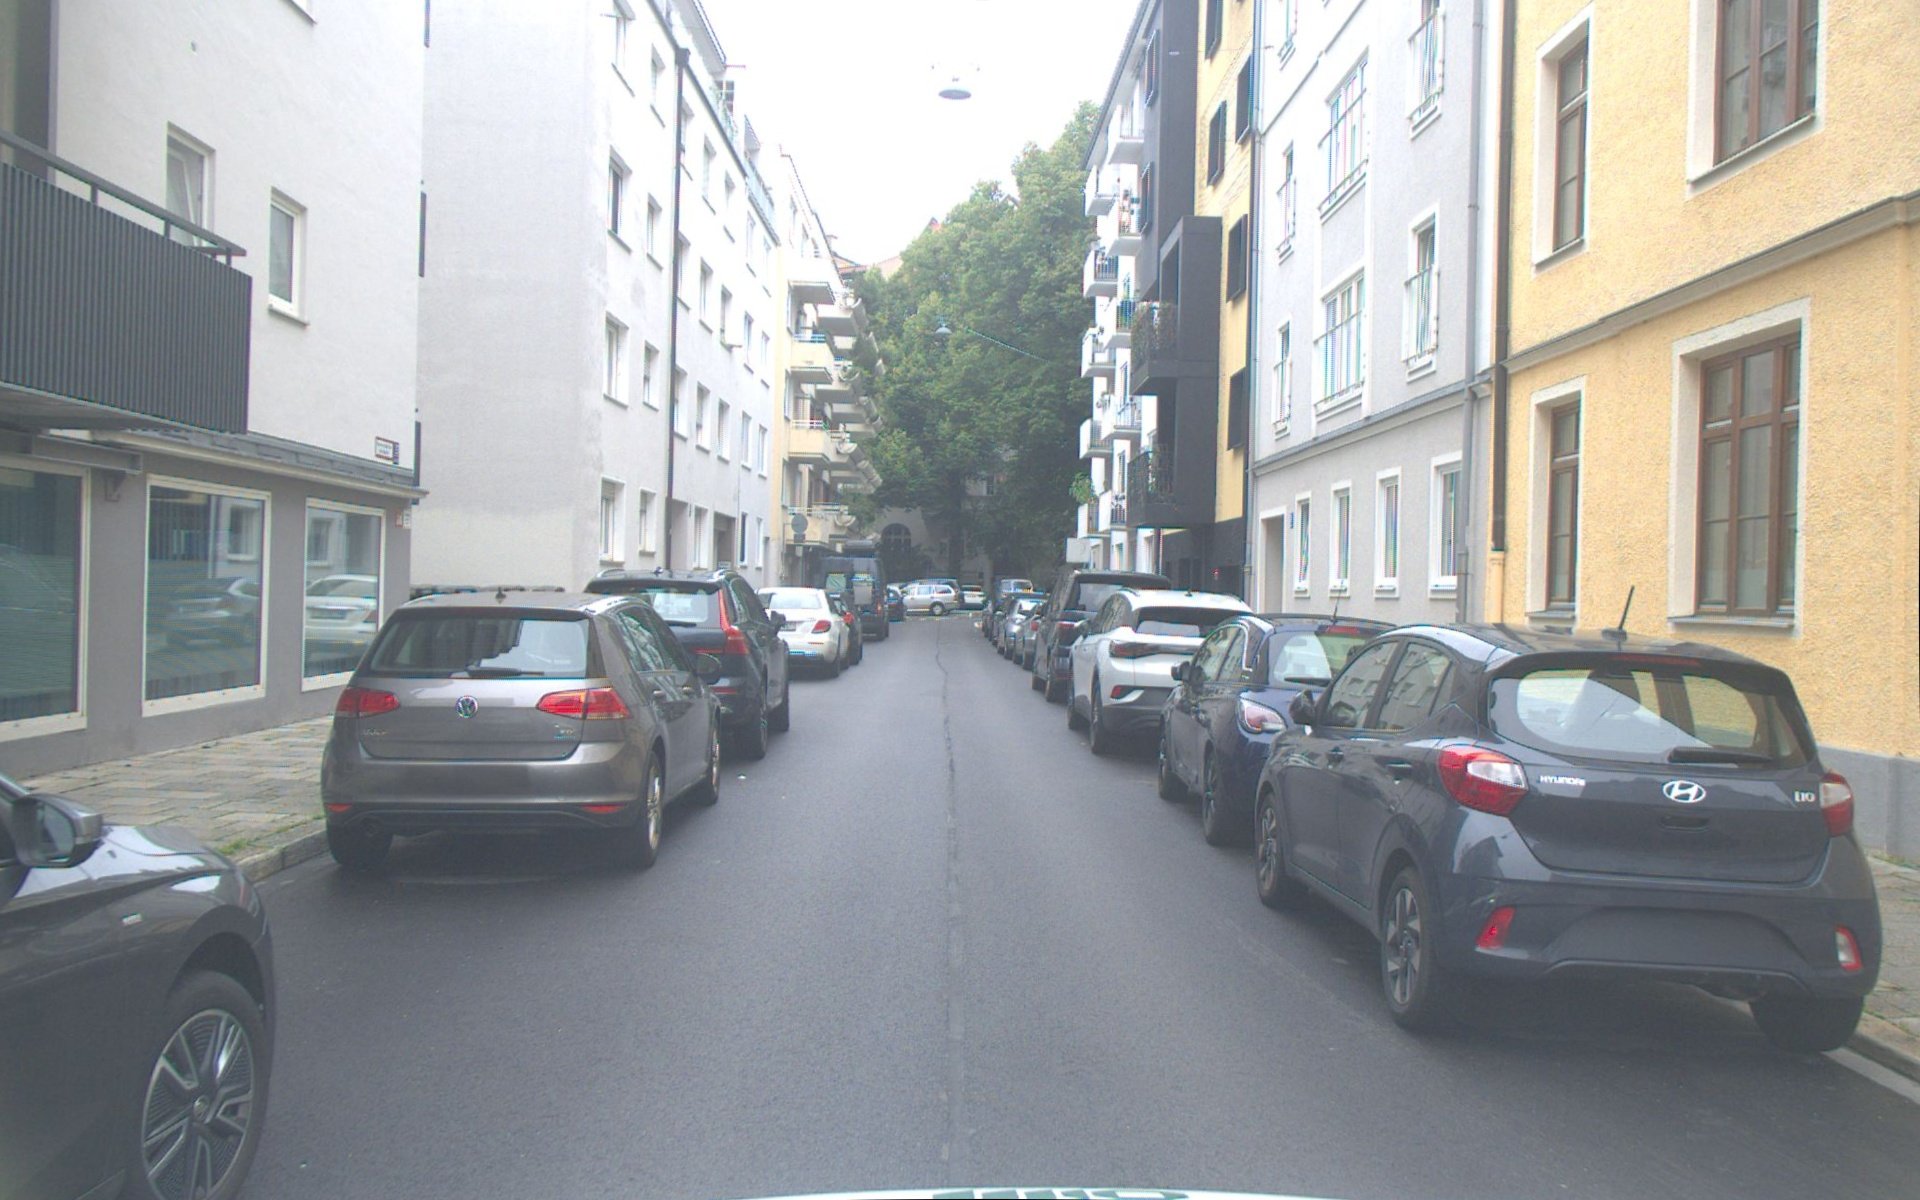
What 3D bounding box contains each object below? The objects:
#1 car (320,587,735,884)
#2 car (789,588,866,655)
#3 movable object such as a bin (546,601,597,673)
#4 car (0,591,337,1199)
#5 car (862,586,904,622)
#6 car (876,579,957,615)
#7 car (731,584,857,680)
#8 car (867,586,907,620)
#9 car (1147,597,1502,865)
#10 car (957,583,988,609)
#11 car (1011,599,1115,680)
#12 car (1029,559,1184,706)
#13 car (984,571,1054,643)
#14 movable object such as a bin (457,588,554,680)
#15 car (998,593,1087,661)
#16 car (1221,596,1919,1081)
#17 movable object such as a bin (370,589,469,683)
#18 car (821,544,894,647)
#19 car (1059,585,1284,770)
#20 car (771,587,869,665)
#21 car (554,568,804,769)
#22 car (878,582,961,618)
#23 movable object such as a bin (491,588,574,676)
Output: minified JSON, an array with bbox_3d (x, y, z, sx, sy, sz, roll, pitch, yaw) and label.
[{"bbox_3d":[-2.418,0.659,10.216,1.659,1.467,3.976,0,0,-2],"label":"car"},{"bbox_3d":[-3.112,0.479,39.235,1.609,1.478,3.161,-1,0,-1],"label":"car"},{"bbox_3d":[-5.871,0.557,25.023,0.637,1.038,0.584,3,0,-7],"label":"movable object such as a bin"},{"bbox_3d":[-2.454,0.727,2.354,1.658,1.467,3.942,0,0,0],"label":"car"},{"bbox_3d":[-3.112,0.150,67.459,1.609,1.408,3.481,-1,0,-1],"label":"car"},{"bbox_3d":[-2.094,-0.151,79.362,3.808,1.612,1.647,-1,0,-2],"label":"car"},{"bbox_3d":[-2.825,0.497,28.958,1.740,1.513,4.519,-1,0,0],"label":"car"},{"bbox_3d":[-3.135,0.113,71.303,1.609,1.408,3.481,-1,0,-1],"label":"car"},{"bbox_3d":[2.435,0.796,11.982,1.630,1.494,3.818,4,1,0],"label":"car"},{"bbox_3d":[0.711,-0.231,94.534,1.609,1.408,3.745,-1,0,-1],"label":"car"},{"bbox_3d":[2.188,0.812,36.108,1.793,1.479,4.414,4,0,-1],"label":"car"},{"bbox_3d":[2.128,0.431,25.154,1.792,1.943,4.415,3,1,-1],"label":"car"},{"bbox_3d":[1.798,0.191,51.785,1.793,2.034,4.414,4,0,-1],"label":"car"},{"bbox_3d":[-6.899,0.505,25.149,1.142,1.360,1.025,-1,0,2],"label":"movable object such as a bin"},{"bbox_3d":[1.999,0.630,41.338,1.793,1.479,4.414,4,0,-1],"label":"car"},{"bbox_3d":[2.513,0.807,7.749,1.716,1.494,4.342,4,1,-1],"label":"car"},{"bbox_3d":[-8.121,0.531,24.895,1.134,1.360,0.993,-1,0,2],"label":"movable object such as a bin"},{"bbox_3d":[-2.975,-0.158,48.806,1.897,2.850,4.531,-1,0,-1],"label":"car"},{"bbox_3d":[2.095,0.699,17.564,1.648,1.594,4.414,4,1,-1],"label":"car"},{"bbox_3d":[-2.829,0.487,34.183,1.741,1.478,4.045,-1,0,-1],"label":"car"},{"bbox_3d":[-2.529,0.547,15.879,1.741,1.657,4.413,0,0,-1],"label":"car"},{"bbox_3d":[-1.901,-0.010,77.396,3.808,1.612,1.647,-1,0,-2],"label":"car"},{"bbox_3d":[-6.767,0.493,26.228,1.026,1.360,0.993,-1,0,2],"label":"movable object such as a bin"}]
